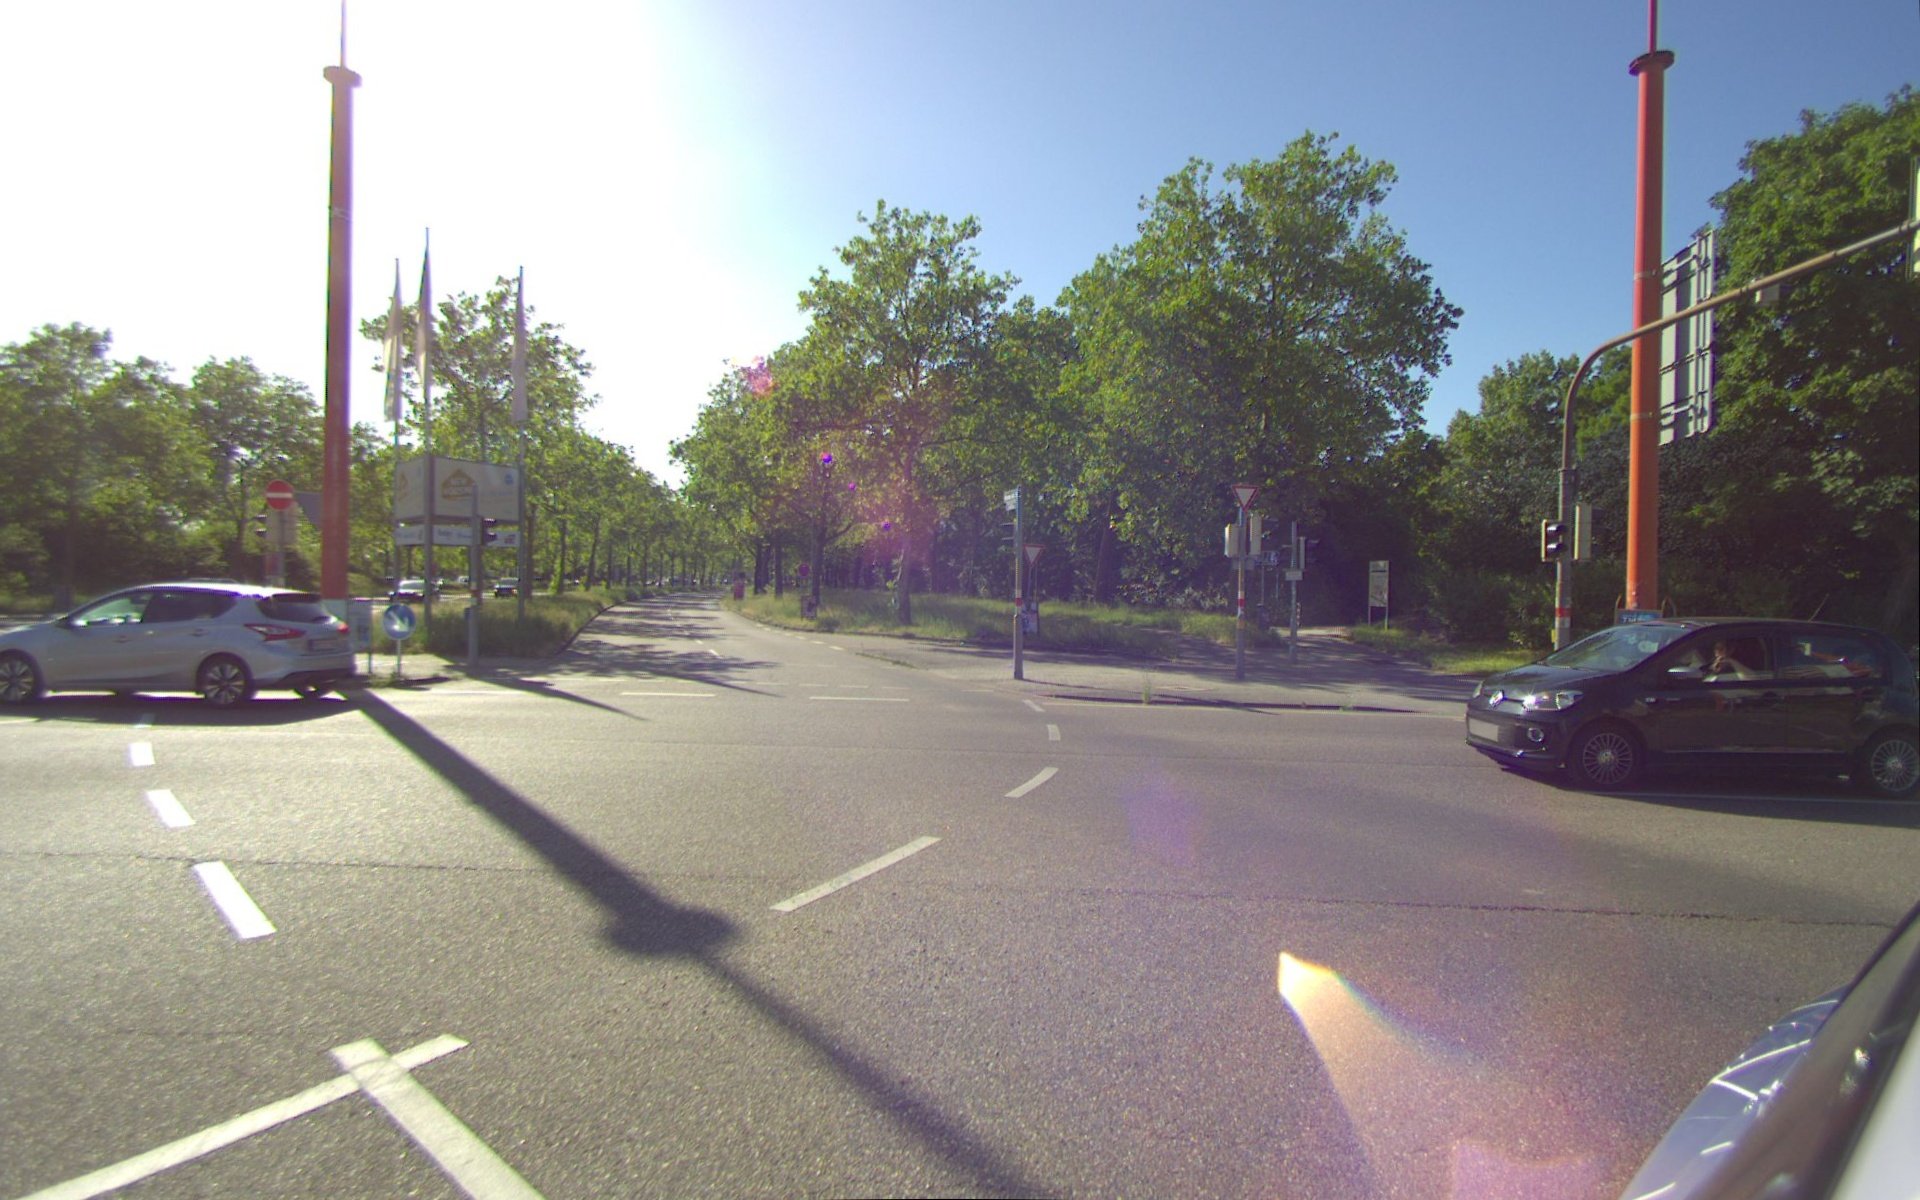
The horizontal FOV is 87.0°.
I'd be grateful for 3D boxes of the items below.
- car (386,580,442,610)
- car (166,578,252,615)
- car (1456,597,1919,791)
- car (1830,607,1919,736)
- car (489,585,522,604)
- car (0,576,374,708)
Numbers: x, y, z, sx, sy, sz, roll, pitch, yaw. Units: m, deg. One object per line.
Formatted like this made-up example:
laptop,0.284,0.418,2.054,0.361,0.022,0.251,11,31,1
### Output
car,-29.942,-0.270,55.595,1.736,1.527,4.234,1,0,-15
car,-32.713,-0.138,44.195,1.827,1.536,4.145,1,-1,-19
car,6.528,0.764,9.016,3.389,1.513,1.622,1,0,2
car,13.246,0.864,12.233,3.891,1.513,1.714,1,0,3
car,-37.369,-0.435,83.258,1.736,1.527,4.233,1,-1,-14
car,-10.108,0.506,13.110,4.061,1.536,1.726,1,-1,3
